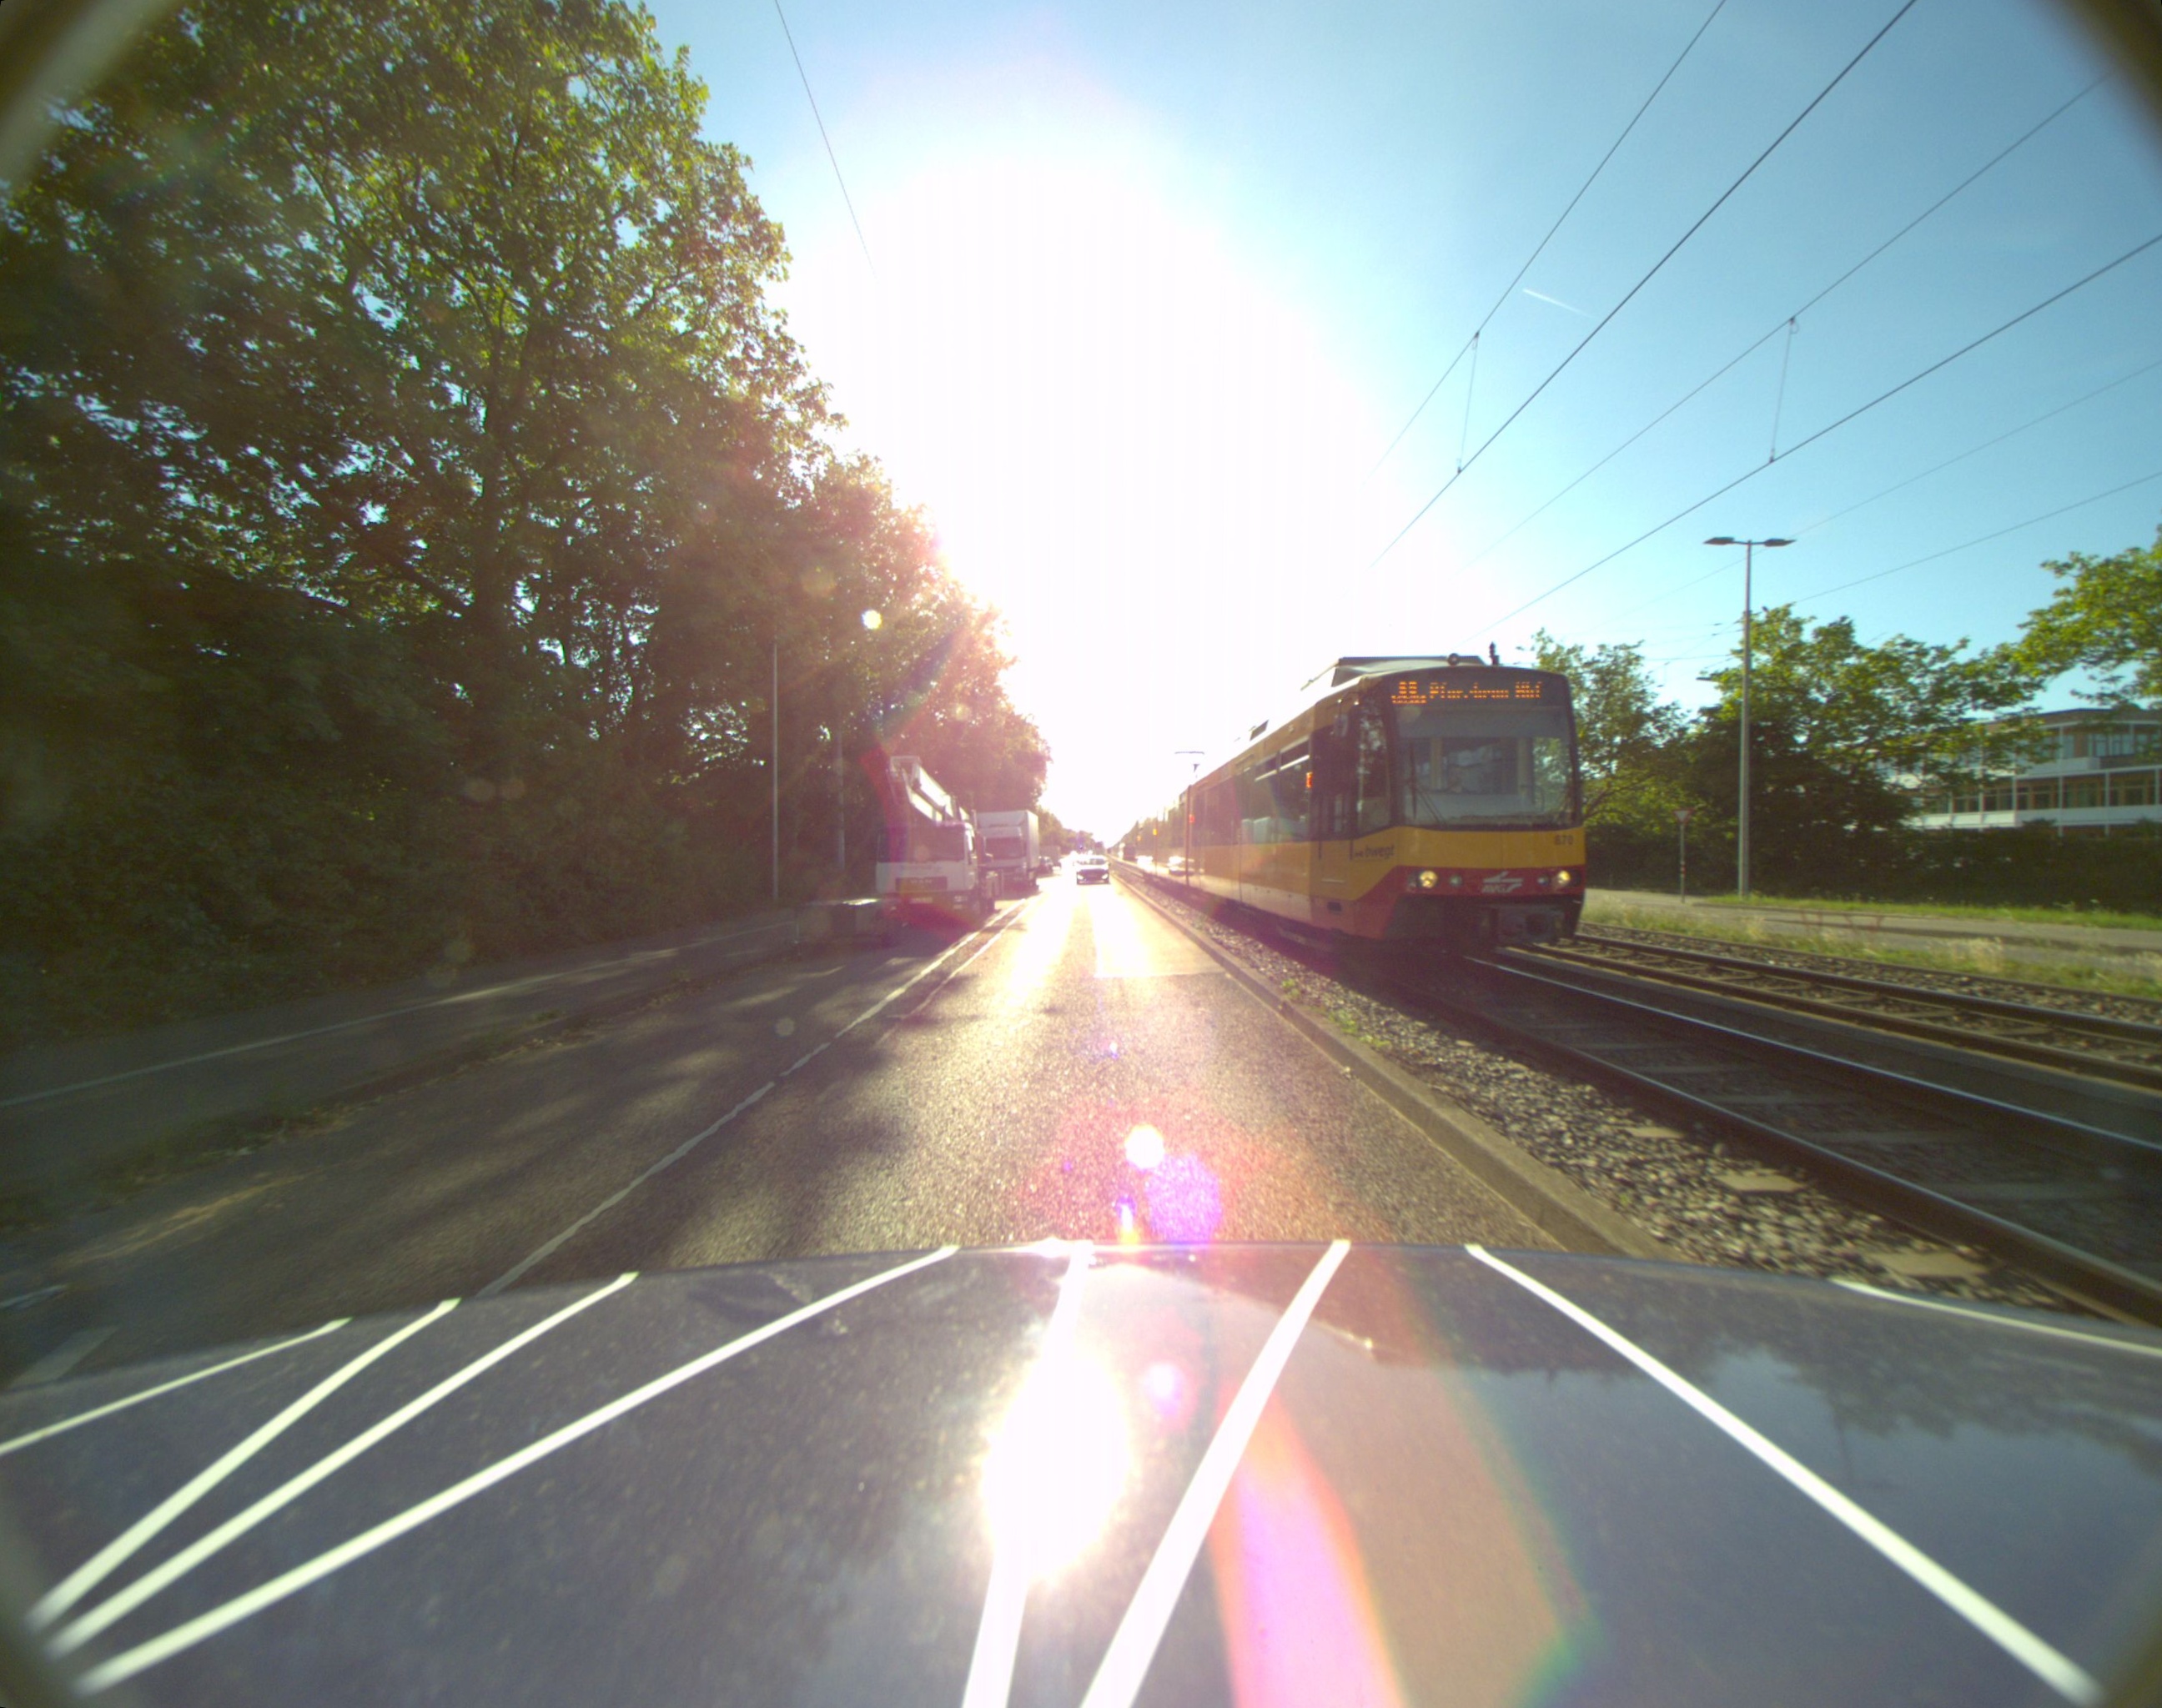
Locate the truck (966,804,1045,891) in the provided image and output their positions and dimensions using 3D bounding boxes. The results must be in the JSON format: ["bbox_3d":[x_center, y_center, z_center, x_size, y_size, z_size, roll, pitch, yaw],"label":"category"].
[{"bbox_3d":[-3.589,-0.301,38.690,2.749,3.761,10.088,-2,0,0],"label":"truck"}]

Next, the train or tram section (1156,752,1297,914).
[{"bbox_3d":[4.133,-0.553,24.051,2.701,4.065,9.910,0,0,1],"label":"train or tram section"}]

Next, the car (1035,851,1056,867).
[{"bbox_3d":[-3.459,0.506,75.079,1.813,1.448,4.165,-3,0,-1],"label":"car"}]

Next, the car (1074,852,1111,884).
[{"bbox_3d":[0.665,0.703,39.753,1.786,1.530,4.001,-1,0,3],"label":"car"}]

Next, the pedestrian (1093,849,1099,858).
[{"bbox_3d":[2.708,-0.064,136.375,0.760,1.485,0.696,-1,1,34],"label":"pedestrian"}]

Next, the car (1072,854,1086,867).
[{"bbox_3d":[-0.253,0.843,98.374,1.784,1.586,4.000,-1,0,1],"label":"car"}]

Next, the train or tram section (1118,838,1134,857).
[{"bbox_3d":[9.428,-1.360,159.374,2.834,3.665,12.968,-2,1,2],"label":"train or tram section"}]

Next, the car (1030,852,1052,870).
[{"bbox_3d":[-3.652,0.633,69.890,1.644,1.528,3.640,-3,0,1],"label":"car"}]

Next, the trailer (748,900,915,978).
[{"bbox_3d":[-4.014,1.340,12.788,1.580,0.854,3.501,-2,0,1],"label":"trailer"}]

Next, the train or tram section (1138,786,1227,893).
[{"bbox_3d":[4.395,-0.575,35.842,2.728,4.067,13.615,0,0,2],"label":"train or tram section"}]

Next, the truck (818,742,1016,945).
[{"bbox_3d":[-3.557,-0.219,19.440,2.724,3.761,9.760,-2,0,0],"label":"truck"}]

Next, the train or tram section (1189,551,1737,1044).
[{"bbox_3d":[4.059,-0.483,12.694,2.726,4.065,12.811,0,0,0],"label":"train or tram section"}]

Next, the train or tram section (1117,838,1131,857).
[{"bbox_3d":[9.745,-1.506,173.829,2.834,3.982,15.874,-2,1,2],"label":"train or tram section"}]

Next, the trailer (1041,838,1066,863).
[{"bbox_3d":[-3.139,-0.375,87.274,2.256,2.679,5.948,-1,0,4],"label":"trailer"}]
